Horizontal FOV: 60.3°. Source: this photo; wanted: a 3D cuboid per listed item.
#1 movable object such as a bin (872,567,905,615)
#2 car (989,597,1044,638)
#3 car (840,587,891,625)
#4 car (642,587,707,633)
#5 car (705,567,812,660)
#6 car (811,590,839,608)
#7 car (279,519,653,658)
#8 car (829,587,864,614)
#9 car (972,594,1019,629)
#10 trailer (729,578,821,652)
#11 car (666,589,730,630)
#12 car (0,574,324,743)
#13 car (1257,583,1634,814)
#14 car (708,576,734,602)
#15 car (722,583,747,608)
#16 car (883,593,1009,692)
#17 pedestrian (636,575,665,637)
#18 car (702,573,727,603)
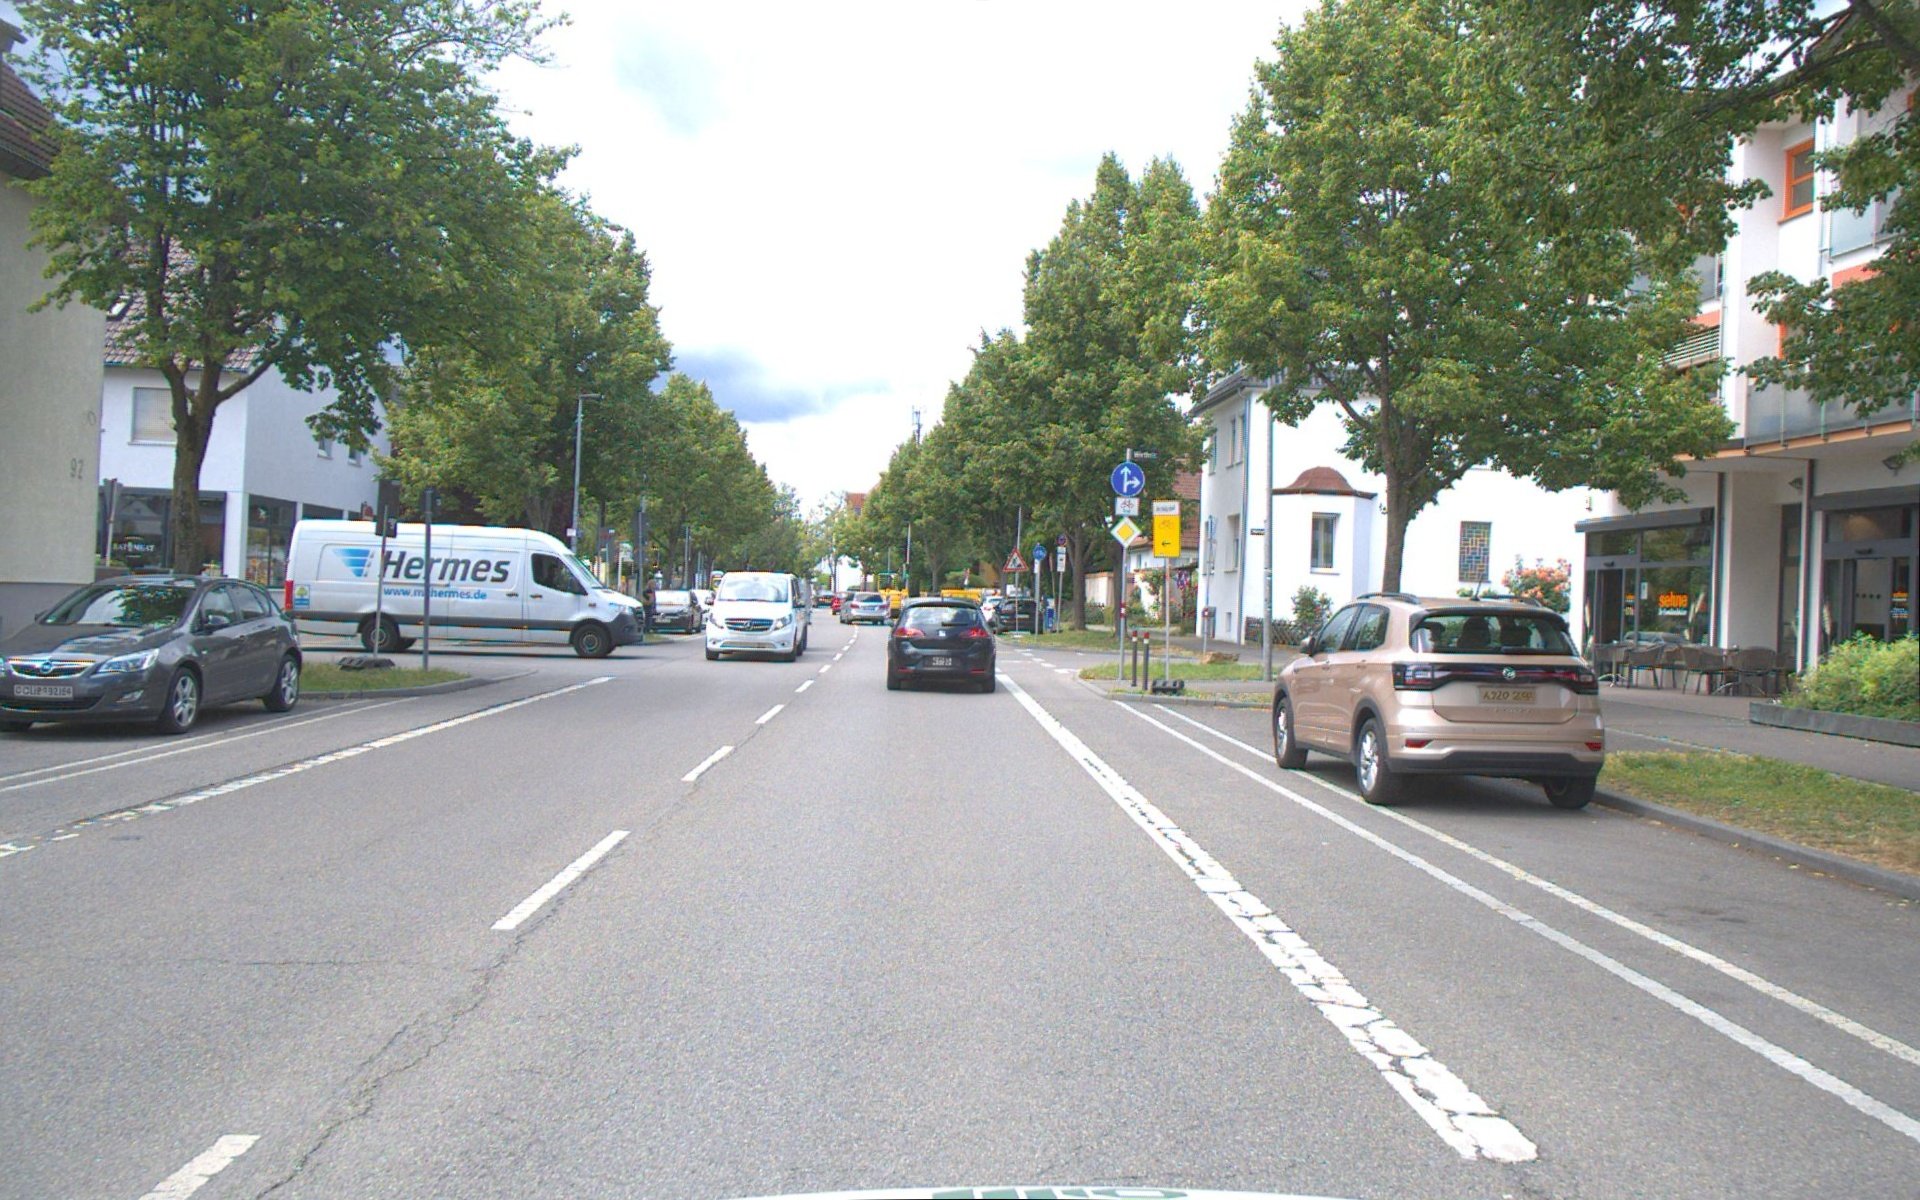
[{"bbox_3d":[-4.126,-0.513,94.783,1.733,2.619,3.736,2,0,-4],"label":"movable object such as a bin"},{"bbox_3d":[2.129,0.628,63.027,1.672,1.480,4.613,1,0,-3],"label":"car"},{"bbox_3d":[-4.373,0.255,75.835,1.871,1.715,3.730,1,0,-11],"label":"car"},{"bbox_3d":[-9.404,0.322,54.714,1.610,1.445,4.018,1,0,-3],"label":"car"},{"bbox_3d":[-4.394,0.272,36.720,1.927,1.862,4.817,2,0,-2],"label":"car"},{"bbox_3d":[-10.769,-0.082,132.033,1.778,1.399,3.683,2,0,-11],"label":"car"},{"bbox_3d":[-10.229,-0.230,34.799,7.148,2.639,2.218,2,0,-6],"label":"car"},{"bbox_3d":[-7.016,0.009,102.187,1.758,1.651,3.731,1,0,-10],"label":"car"},{"bbox_3d":[1.547,0.490,72.727,1.639,1.488,3.996,1,0,-5],"label":"car"},{"bbox_3d":[-4.567,0.345,41.474,1.899,1.706,4.686,2,0,-2],"label":"trailer"},{"bbox_3d":[-9.714,0.331,61.546,1.679,1.431,4.299,1,0,-1],"label":"car"},{"bbox_3d":[-8.191,0.511,16.981,1.696,1.494,4.300,1,0,-1],"label":"car"},{"bbox_3d":[3.840,0.696,13.845,1.688,1.608,4.057,2,0,-4],"label":"car"},{"bbox_3d":[-20.648,-0.956,142.822,2.054,2.213,5.032,1,0,-10],"label":"car"},{"bbox_3d":[-16.519,-0.352,121.205,1.637,1.803,4.458,1,0,-10],"label":"car"},{"bbox_3d":[-0.294,0.630,26.804,1.783,1.463,3.736,1,0,-4],"label":"car"},{"bbox_3d":[-8.745,0.169,46.697,0.531,1.710,0.751,3,1,6],"label":"pedestrian"},{"bbox_3d":[-22.769,-1.148,153.092,2.054,2.672,5.032,1,0,-10],"label":"car"}]
